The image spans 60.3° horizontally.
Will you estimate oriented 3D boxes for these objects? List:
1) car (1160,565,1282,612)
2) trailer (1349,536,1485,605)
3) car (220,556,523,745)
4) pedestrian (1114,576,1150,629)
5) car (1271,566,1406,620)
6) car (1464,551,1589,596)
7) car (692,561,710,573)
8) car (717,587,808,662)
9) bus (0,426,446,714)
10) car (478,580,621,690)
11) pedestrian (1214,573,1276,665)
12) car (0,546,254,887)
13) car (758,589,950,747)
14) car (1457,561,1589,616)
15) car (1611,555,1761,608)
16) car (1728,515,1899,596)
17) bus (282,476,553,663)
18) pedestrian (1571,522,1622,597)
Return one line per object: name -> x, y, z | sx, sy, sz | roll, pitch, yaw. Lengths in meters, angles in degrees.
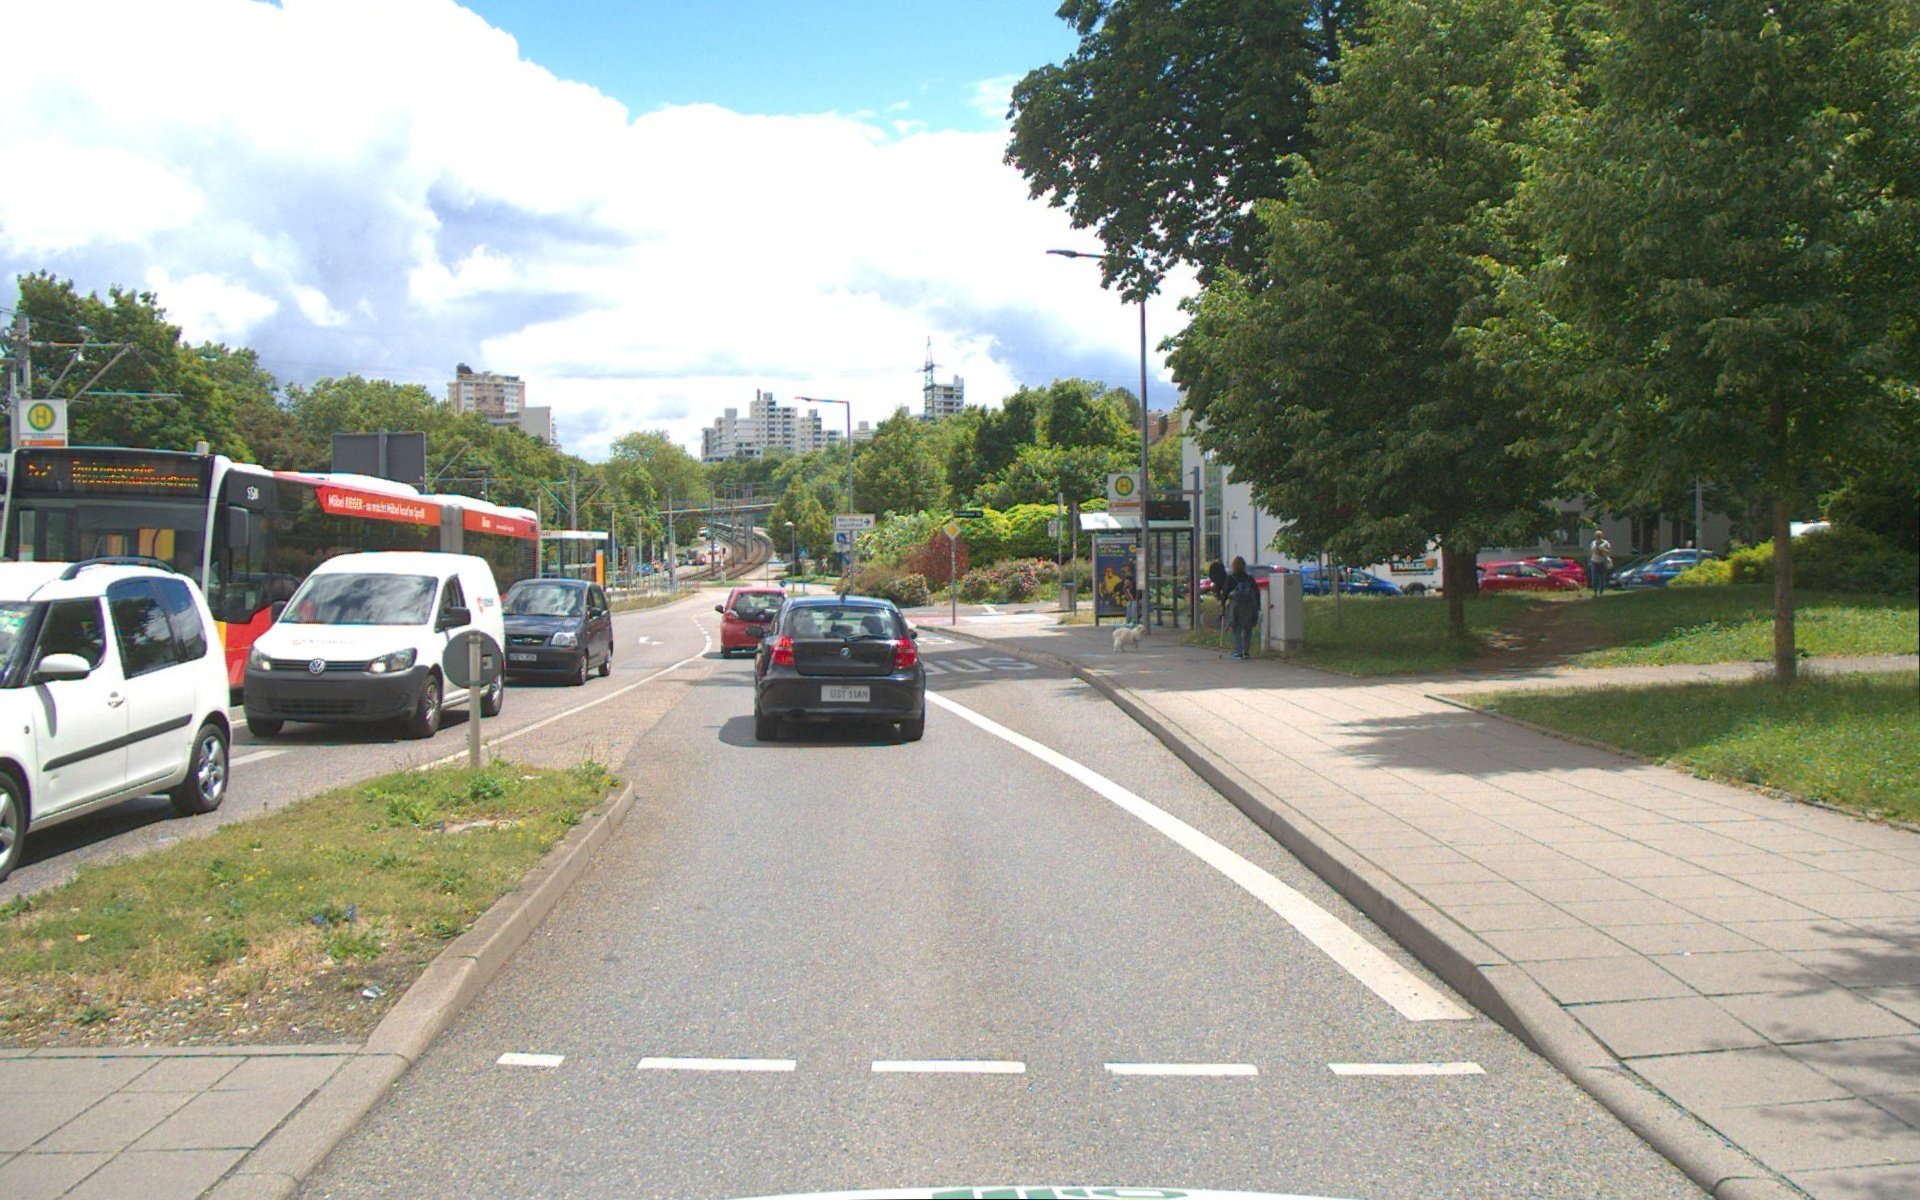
car -> 9.669, -0.444, 61.463 | 4.079, 1.588, 1.997 | -1, 3, -9
trailer -> 17.210, -1.144, 62.400 | 4.448, 2.530, 2.220 | -1, 2, -5
car -> -6.028, 0.464, 17.535 | 1.726, 1.692, 4.504 | -2, 0, -2
pedestrian -> 4.279, 0.062, 41.121 | 0.810, 1.281, 0.686 | -1, 1, -1
car -> 11.982, -0.248, 52.488 | 3.720, 1.481, 1.894 | -3, 2, -6
car -> 21.482, -1.027, 62.772 | 4.001, 1.528, 1.998 | -2, 2, -5
car -> -34.070, -4.339, 217.391 | 1.683, 1.529, 2.969 | 0, 1, 4
car -> -4.262, 0.481, 35.318 | 1.733, 1.457, 3.471 | -2, 1, -10
bus -> -9.850, -0.452, 23.083 | 2.671, 3.163, 9.700 | -1, 1, -3
car -> -6.324, 0.498, 25.815 | 1.499, 1.578, 3.730 | 1, 0, -4
pedestrian -> 4.580, 0.301, 26.617 | 0.803, 1.449, 0.829 | -1, 0, -3
car -> -5.615, 0.557, 9.331 | 1.665, 1.677, 4.076 | 0, 1, -3
car -> -1.195, 0.641, 17.657 | 1.780, 1.445, 3.995 | -2, 0, -6
car -> 18.119, -0.382, 53.277 | 3.615, 1.672, 1.828 | -1, 2, -6
car -> 23.619, -0.606, 53.887 | 4.001, 1.586, 1.997 | -2, 1, -7
car -> 32.813, -1.712, 63.685 | 5.467, 2.916, 2.203 | -2, 1, -4
bus -> -10.234, -0.570, 32.352 | 2.671, 3.123, 8.959 | -1, 1, -3
pedestrian -> 15.731, -0.988, 40.881 | 0.965, 1.791, 0.859 | -1, 0, 7
